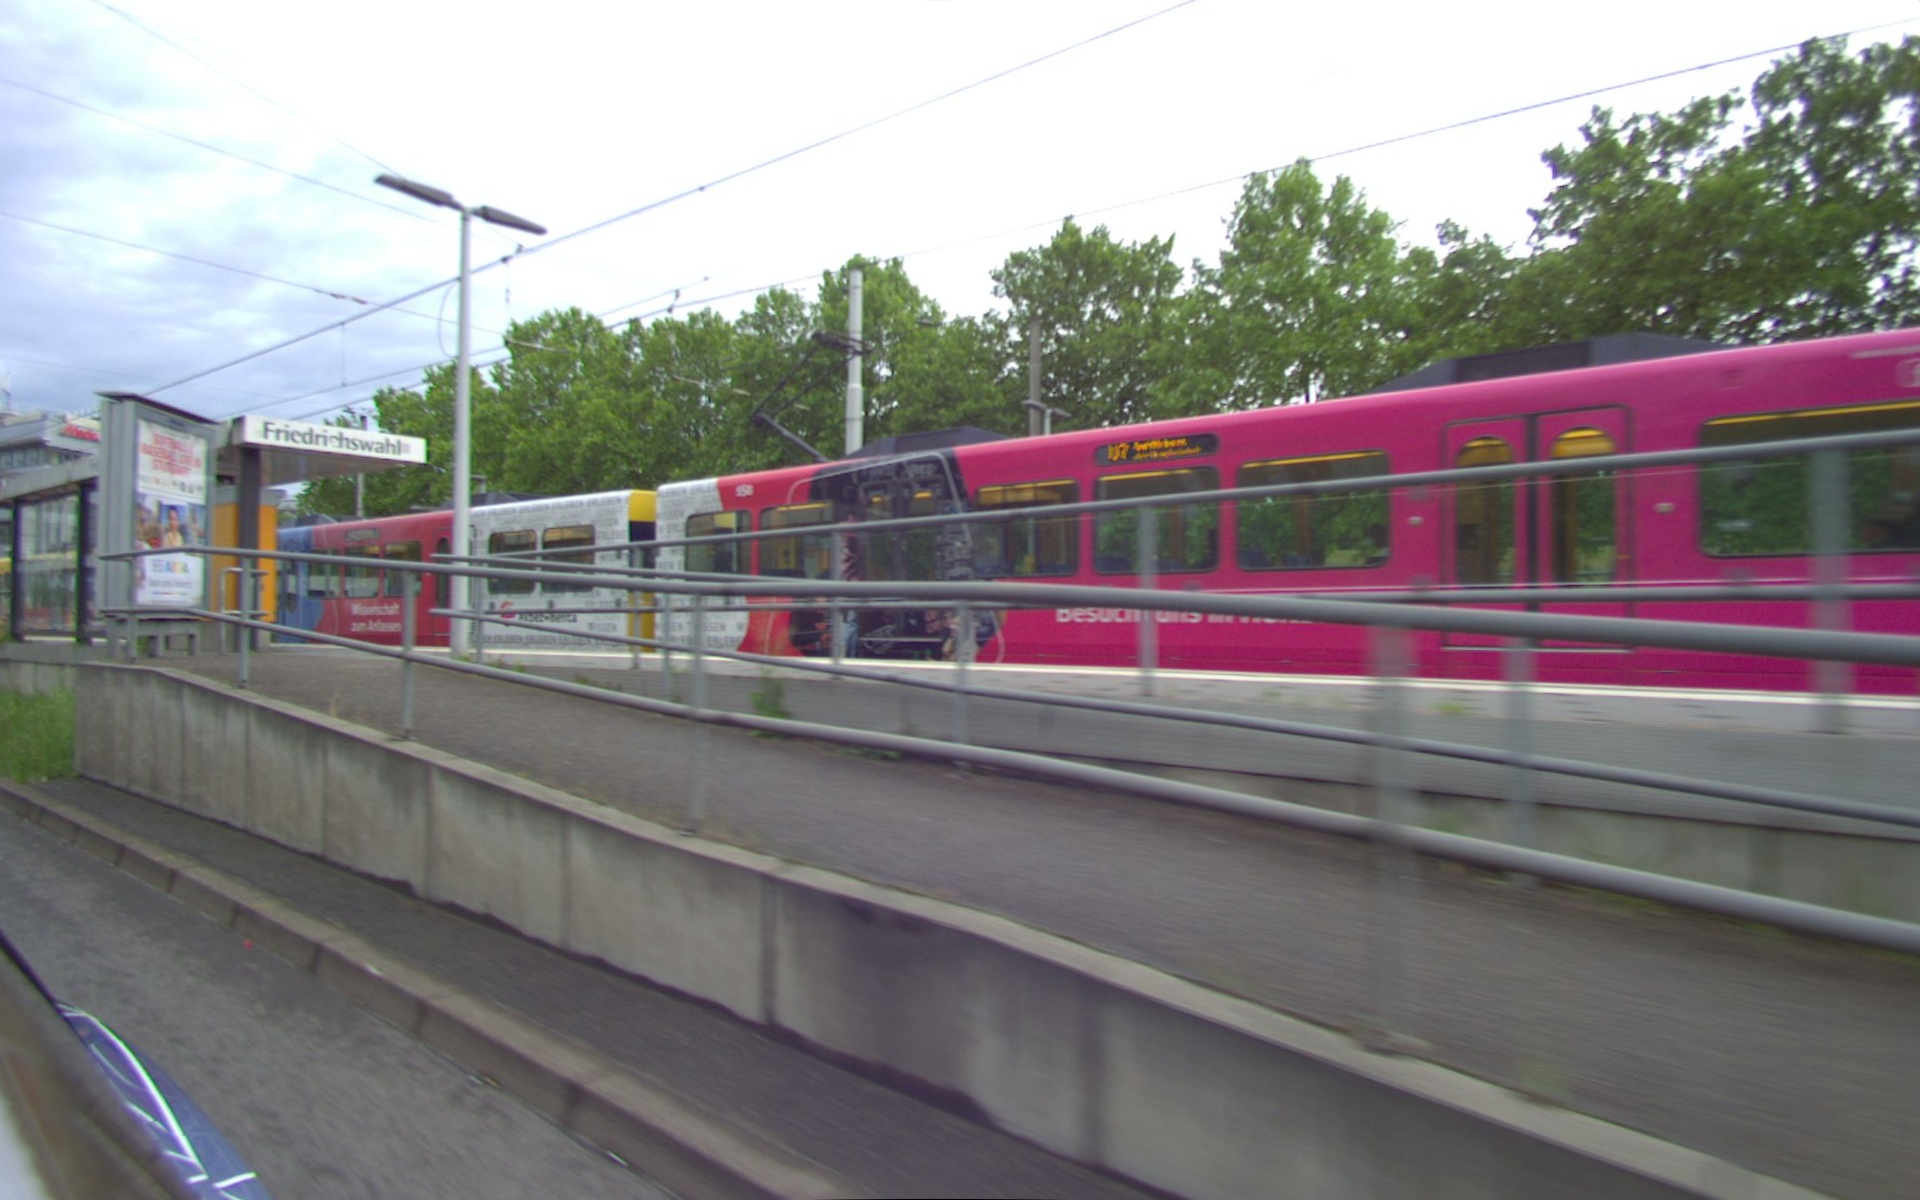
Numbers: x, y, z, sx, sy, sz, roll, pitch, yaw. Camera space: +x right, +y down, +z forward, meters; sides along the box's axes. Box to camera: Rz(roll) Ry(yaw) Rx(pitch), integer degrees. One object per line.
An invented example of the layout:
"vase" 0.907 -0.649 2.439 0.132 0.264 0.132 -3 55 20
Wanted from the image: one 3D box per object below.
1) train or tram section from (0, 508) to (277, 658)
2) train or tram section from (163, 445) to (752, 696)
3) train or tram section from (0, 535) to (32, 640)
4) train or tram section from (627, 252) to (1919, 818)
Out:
"train or tram section" -28.813 -0.479 33.226 19.263 3.983 2.847 0 1 32
"train or tram section" -12.566 -0.498 22.819 19.282 4.000 2.844 0 1 35
"train or tram section" -45.407 -0.444 43.093 19.249 4.002 2.849 0 1 30
"train or tram section" 3.214 -0.494 11.614 19.297 3.990 2.842 0 1 37
